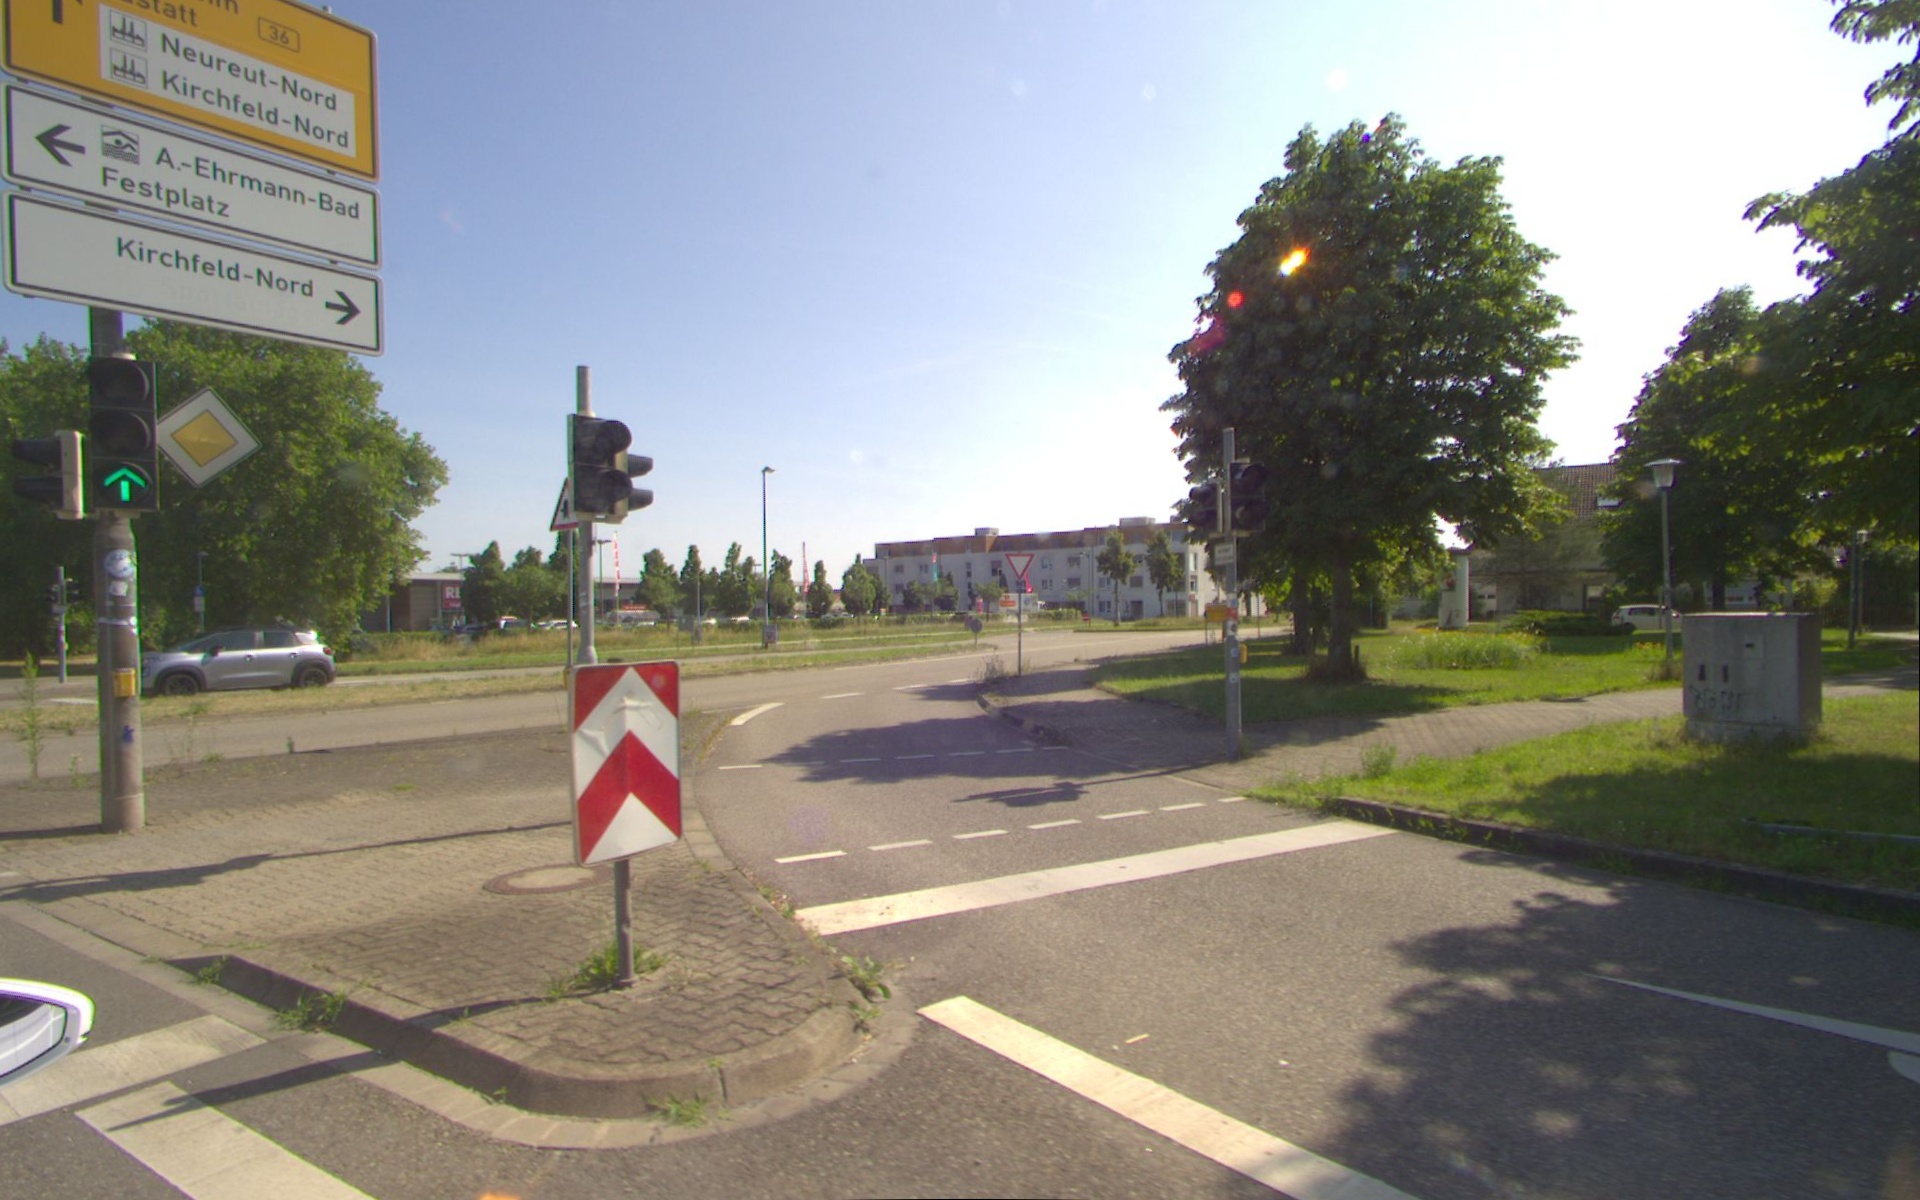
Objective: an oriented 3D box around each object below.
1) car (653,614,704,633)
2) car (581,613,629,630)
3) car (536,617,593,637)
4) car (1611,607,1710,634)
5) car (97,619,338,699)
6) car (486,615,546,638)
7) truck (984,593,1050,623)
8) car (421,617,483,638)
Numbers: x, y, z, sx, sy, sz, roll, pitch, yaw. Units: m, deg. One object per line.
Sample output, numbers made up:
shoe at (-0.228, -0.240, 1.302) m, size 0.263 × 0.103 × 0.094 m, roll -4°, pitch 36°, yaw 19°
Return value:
car at (-27.508, 2.266, 97.830) m, size 4.448 × 1.773 × 1.975 m, roll 0°, pitch -1°, yaw -34°
car at (-37.581, 2.266, 106.067) m, size 1.968 × 1.773 × 4.465 m, roll -1°, pitch -1°, yaw 45°
car at (-35.899, 2.451, 90.937) m, size 1.963 × 1.773 × 4.475 m, roll -1°, pitch -1°, yaw 38°
car at (34.540, 1.024, 49.457) m, size 3.946 × 1.305 × 1.722 m, roll -1°, pitch -1°, yaw 35°
car at (-16.668, 1.256, 22.684) m, size 1.718 × 1.584 × 4.042 m, roll -1°, pitch -1°, yaw 33°
car at (-35.611, 2.100, 80.344) m, size 1.977 × 1.750 × 3.967 m, roll -1°, pitch 0°, yaw 41°
truck at (7.071, 0.962, 124.204) m, size 8.141 × 3.592 × 2.617 m, roll 0°, pitch 0°, yaw -33°
car at (-44.705, 2.425, 88.259) m, size 1.963 × 1.773 × 4.475 m, roll -1°, pitch -1°, yaw 38°
